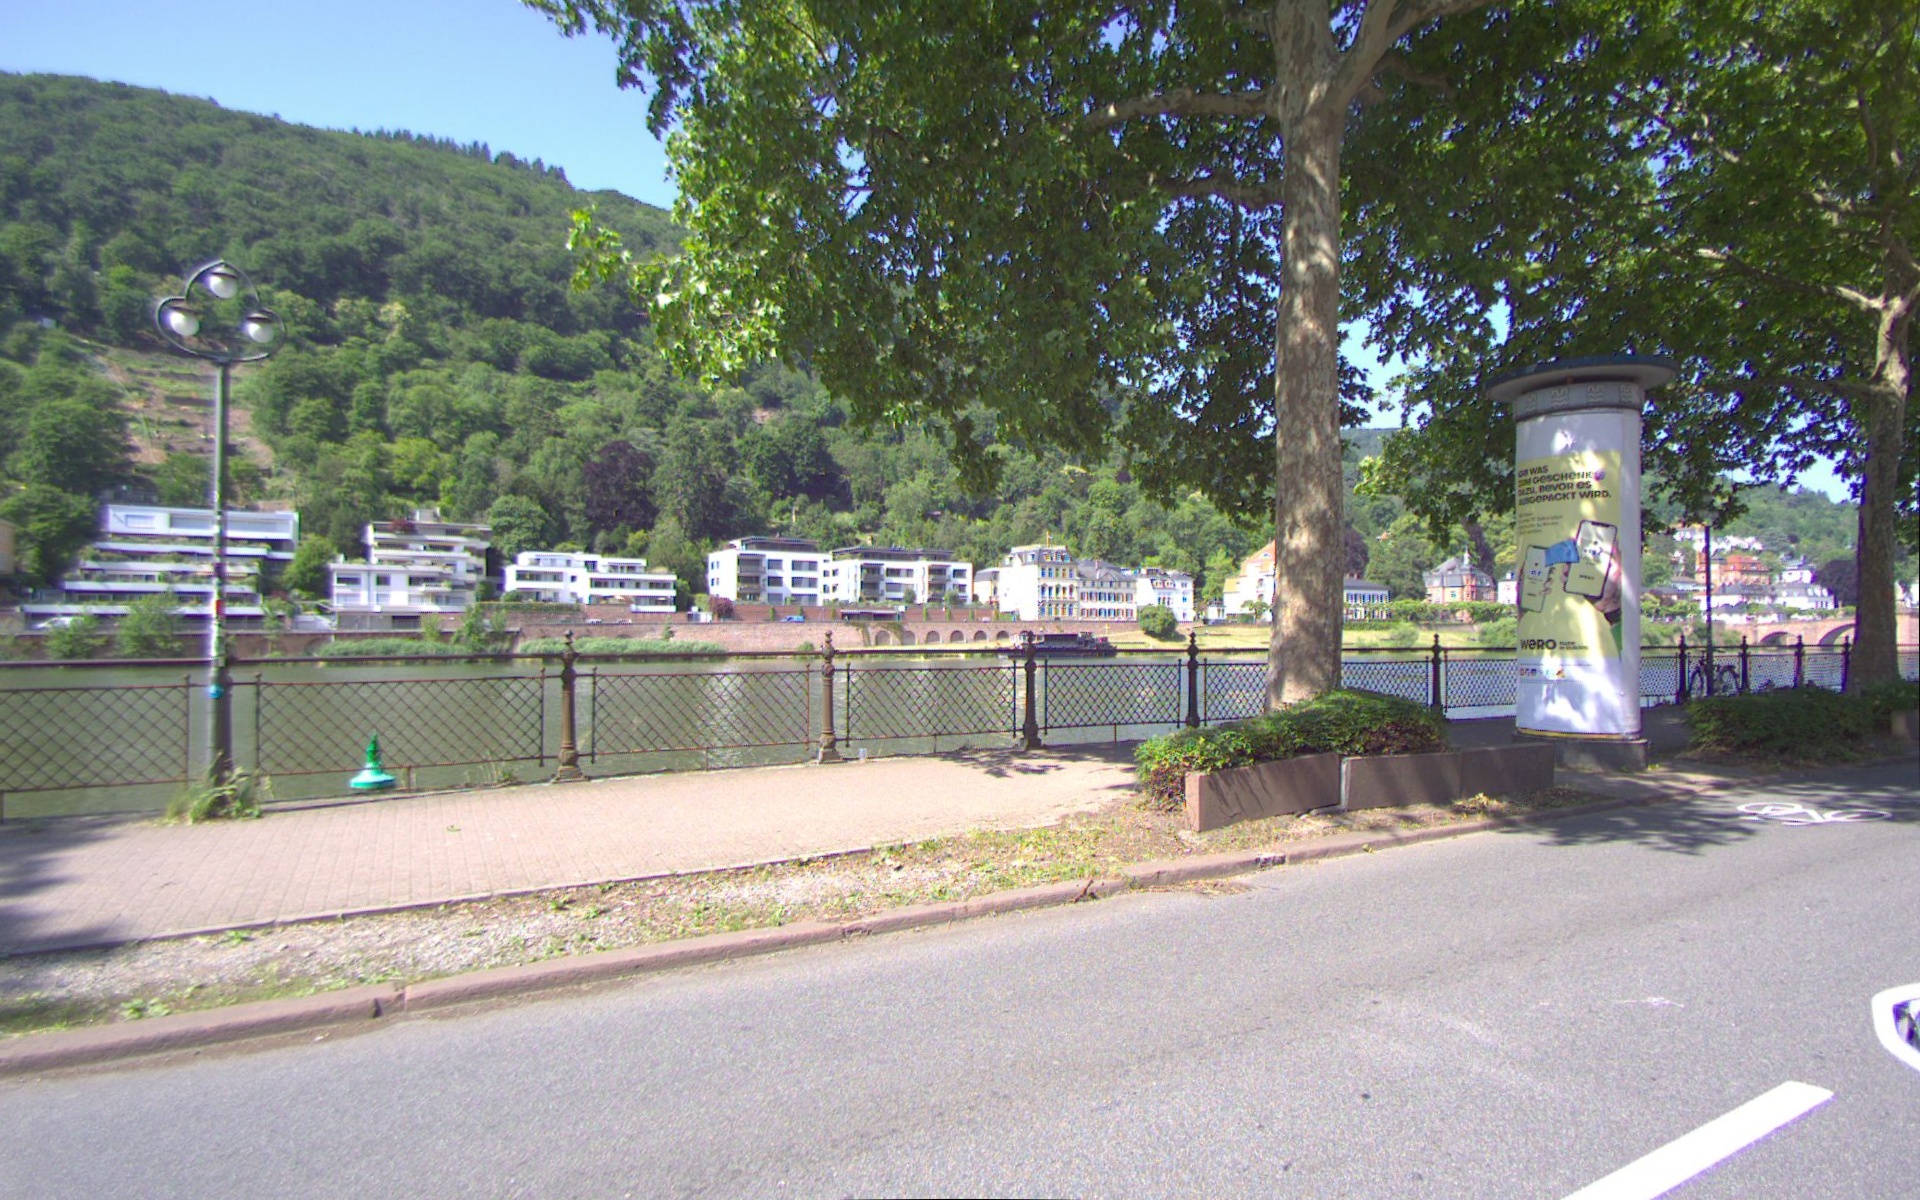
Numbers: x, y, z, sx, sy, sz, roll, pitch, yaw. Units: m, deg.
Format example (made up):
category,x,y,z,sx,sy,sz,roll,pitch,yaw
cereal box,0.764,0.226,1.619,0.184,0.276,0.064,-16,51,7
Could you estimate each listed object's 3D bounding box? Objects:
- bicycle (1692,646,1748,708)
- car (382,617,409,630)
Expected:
category,x,y,z,sx,sy,sz,roll,pitch,yaw
bicycle,14.352,1.439,18.955,1.281,1.106,0.357,1,2,-31
car,-95.519,3.923,170.034,3.953,2.041,1.984,-1,1,-30
